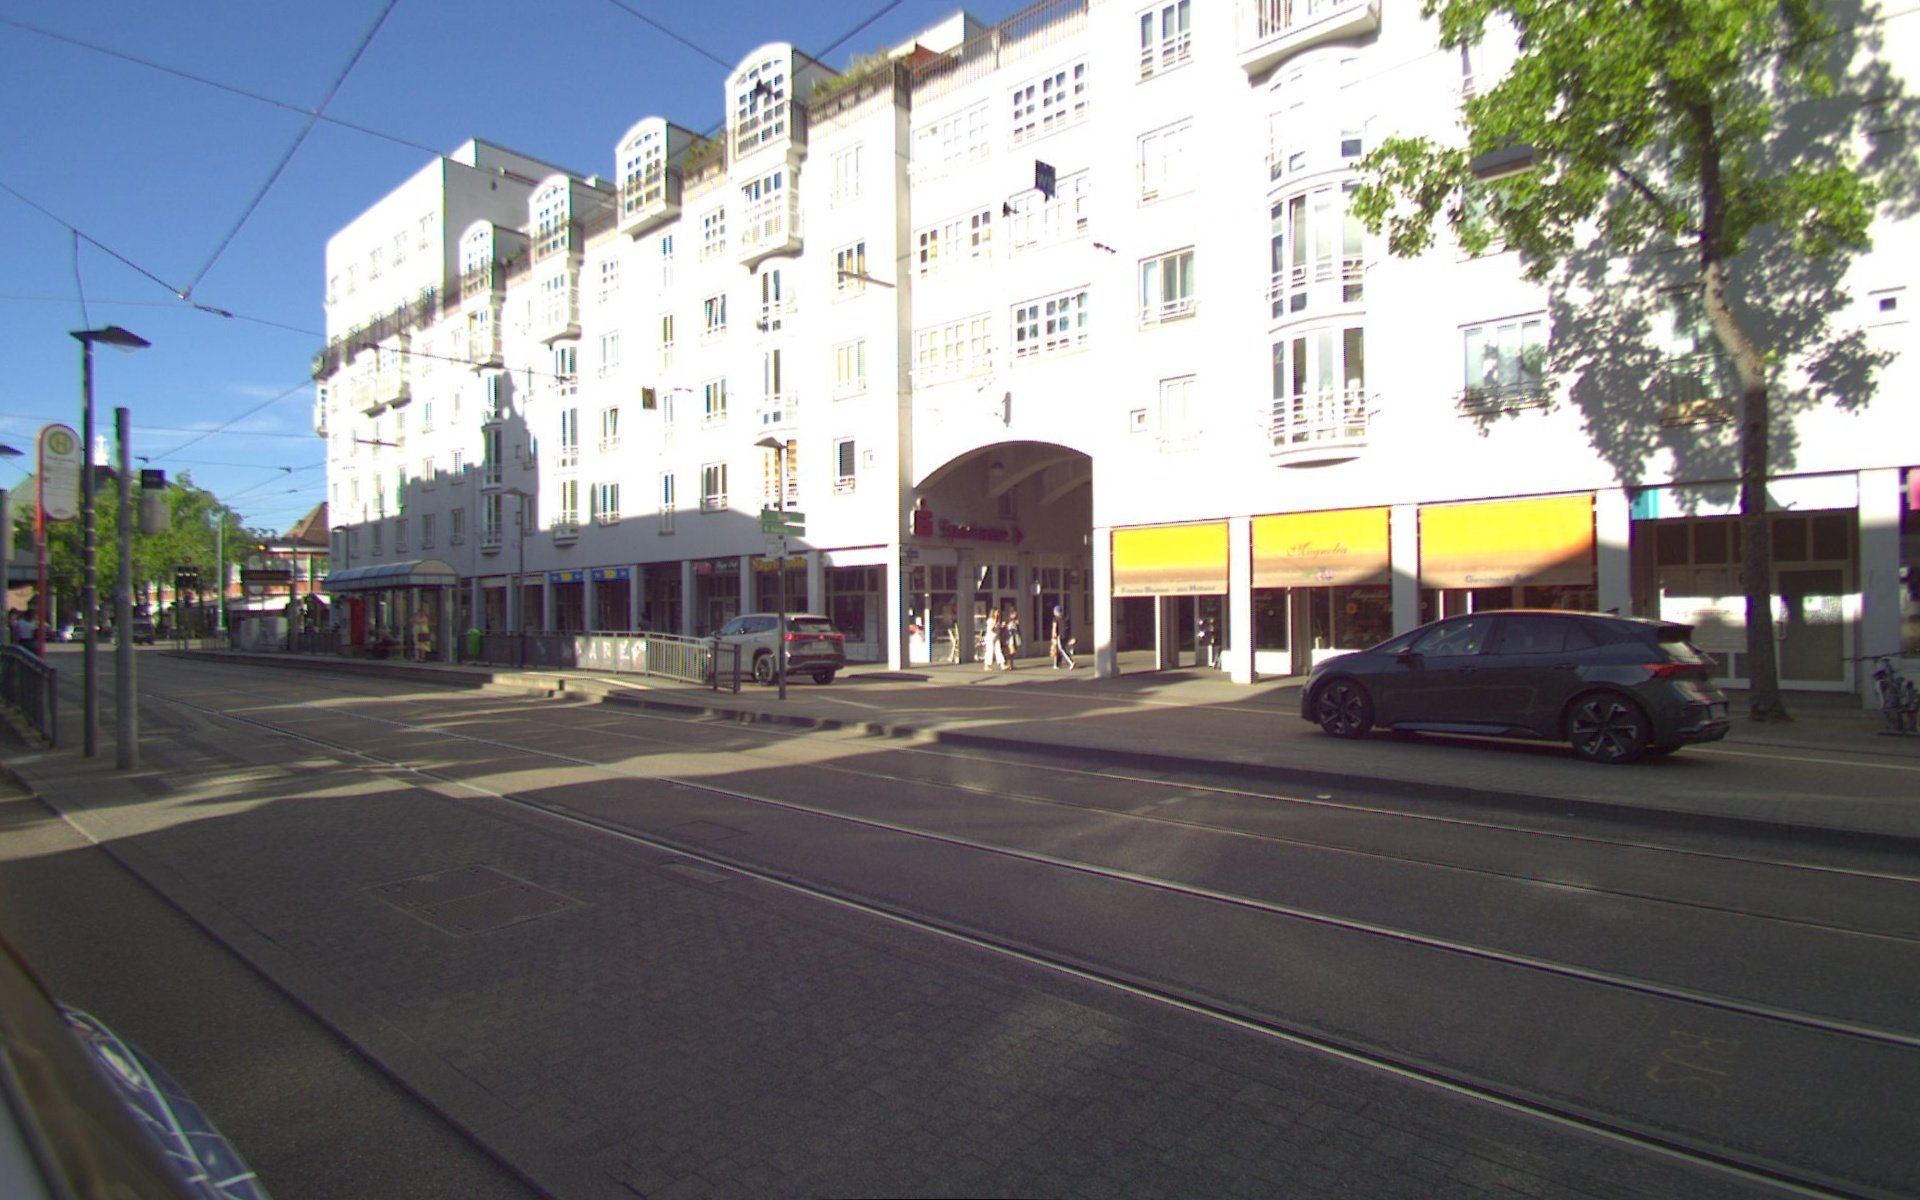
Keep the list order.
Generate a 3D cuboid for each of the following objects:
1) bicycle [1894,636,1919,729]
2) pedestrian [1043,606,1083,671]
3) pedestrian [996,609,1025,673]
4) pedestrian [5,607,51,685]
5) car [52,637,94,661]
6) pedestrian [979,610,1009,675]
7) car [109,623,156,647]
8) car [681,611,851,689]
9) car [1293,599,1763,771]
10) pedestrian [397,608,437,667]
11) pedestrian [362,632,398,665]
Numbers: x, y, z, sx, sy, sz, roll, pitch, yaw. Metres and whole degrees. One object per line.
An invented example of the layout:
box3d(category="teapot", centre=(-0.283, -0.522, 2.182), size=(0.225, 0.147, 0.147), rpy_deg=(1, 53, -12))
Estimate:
box3d(category="bicycle", centre=(12.239, 1.018, 12.795), size=(1.851, 1.085, 0.512), rpy_deg=(0, -2, -44))
box3d(category="pedestrian", centre=(2.672, 1.001, 26.345), size=(0.731, 1.657, 0.737), rpy_deg=(-2, -2, 41))
box3d(category="pedestrian", centre=(1.330, 1.060, 26.664), size=(0.523, 1.657, 0.556), rpy_deg=(-2, -2, 41))
box3d(category="pedestrian", centre=(-20.065, 0.979, 21.788), size=(0.400, 1.657, 0.707), rpy_deg=(-2, -1, 43))
box3d(category="car", centre=(-73.009, 4.011, 83.296), size=(3.995, 1.918, 1.974), rpy_deg=(-2, -1, 39))
box3d(category="pedestrian", centre=(0.882, 1.084, 26.262), size=(0.523, 1.657, 0.556), rpy_deg=(-2, -2, 41))
box3d(category="car", centre=(-58.469, 2.487, 71.454), size=(3.999, 1.630, 1.972), rpy_deg=(-2, -1, 42))
box3d(category="car", centre=(-4.713, 1.159, 24.132), size=(1.758, 1.681, 4.776), rpy_deg=(1, -3, -42))
box3d(category="car", centre=(6.138, 0.866, 11.352), size=(1.758, 1.552, 4.271), rpy_deg=(4, -4, -43))
box3d(category="pedestrian", centre=(-15.519, 1.071, 28.920), size=(0.747, 1.657, 0.784), rpy_deg=(-2, -1, 41))
box3d(category="pedestrian", centre=(-18.262, 1.508, 31.848), size=(0.747, 0.995, 0.784), rpy_deg=(-1, 0, 41))
